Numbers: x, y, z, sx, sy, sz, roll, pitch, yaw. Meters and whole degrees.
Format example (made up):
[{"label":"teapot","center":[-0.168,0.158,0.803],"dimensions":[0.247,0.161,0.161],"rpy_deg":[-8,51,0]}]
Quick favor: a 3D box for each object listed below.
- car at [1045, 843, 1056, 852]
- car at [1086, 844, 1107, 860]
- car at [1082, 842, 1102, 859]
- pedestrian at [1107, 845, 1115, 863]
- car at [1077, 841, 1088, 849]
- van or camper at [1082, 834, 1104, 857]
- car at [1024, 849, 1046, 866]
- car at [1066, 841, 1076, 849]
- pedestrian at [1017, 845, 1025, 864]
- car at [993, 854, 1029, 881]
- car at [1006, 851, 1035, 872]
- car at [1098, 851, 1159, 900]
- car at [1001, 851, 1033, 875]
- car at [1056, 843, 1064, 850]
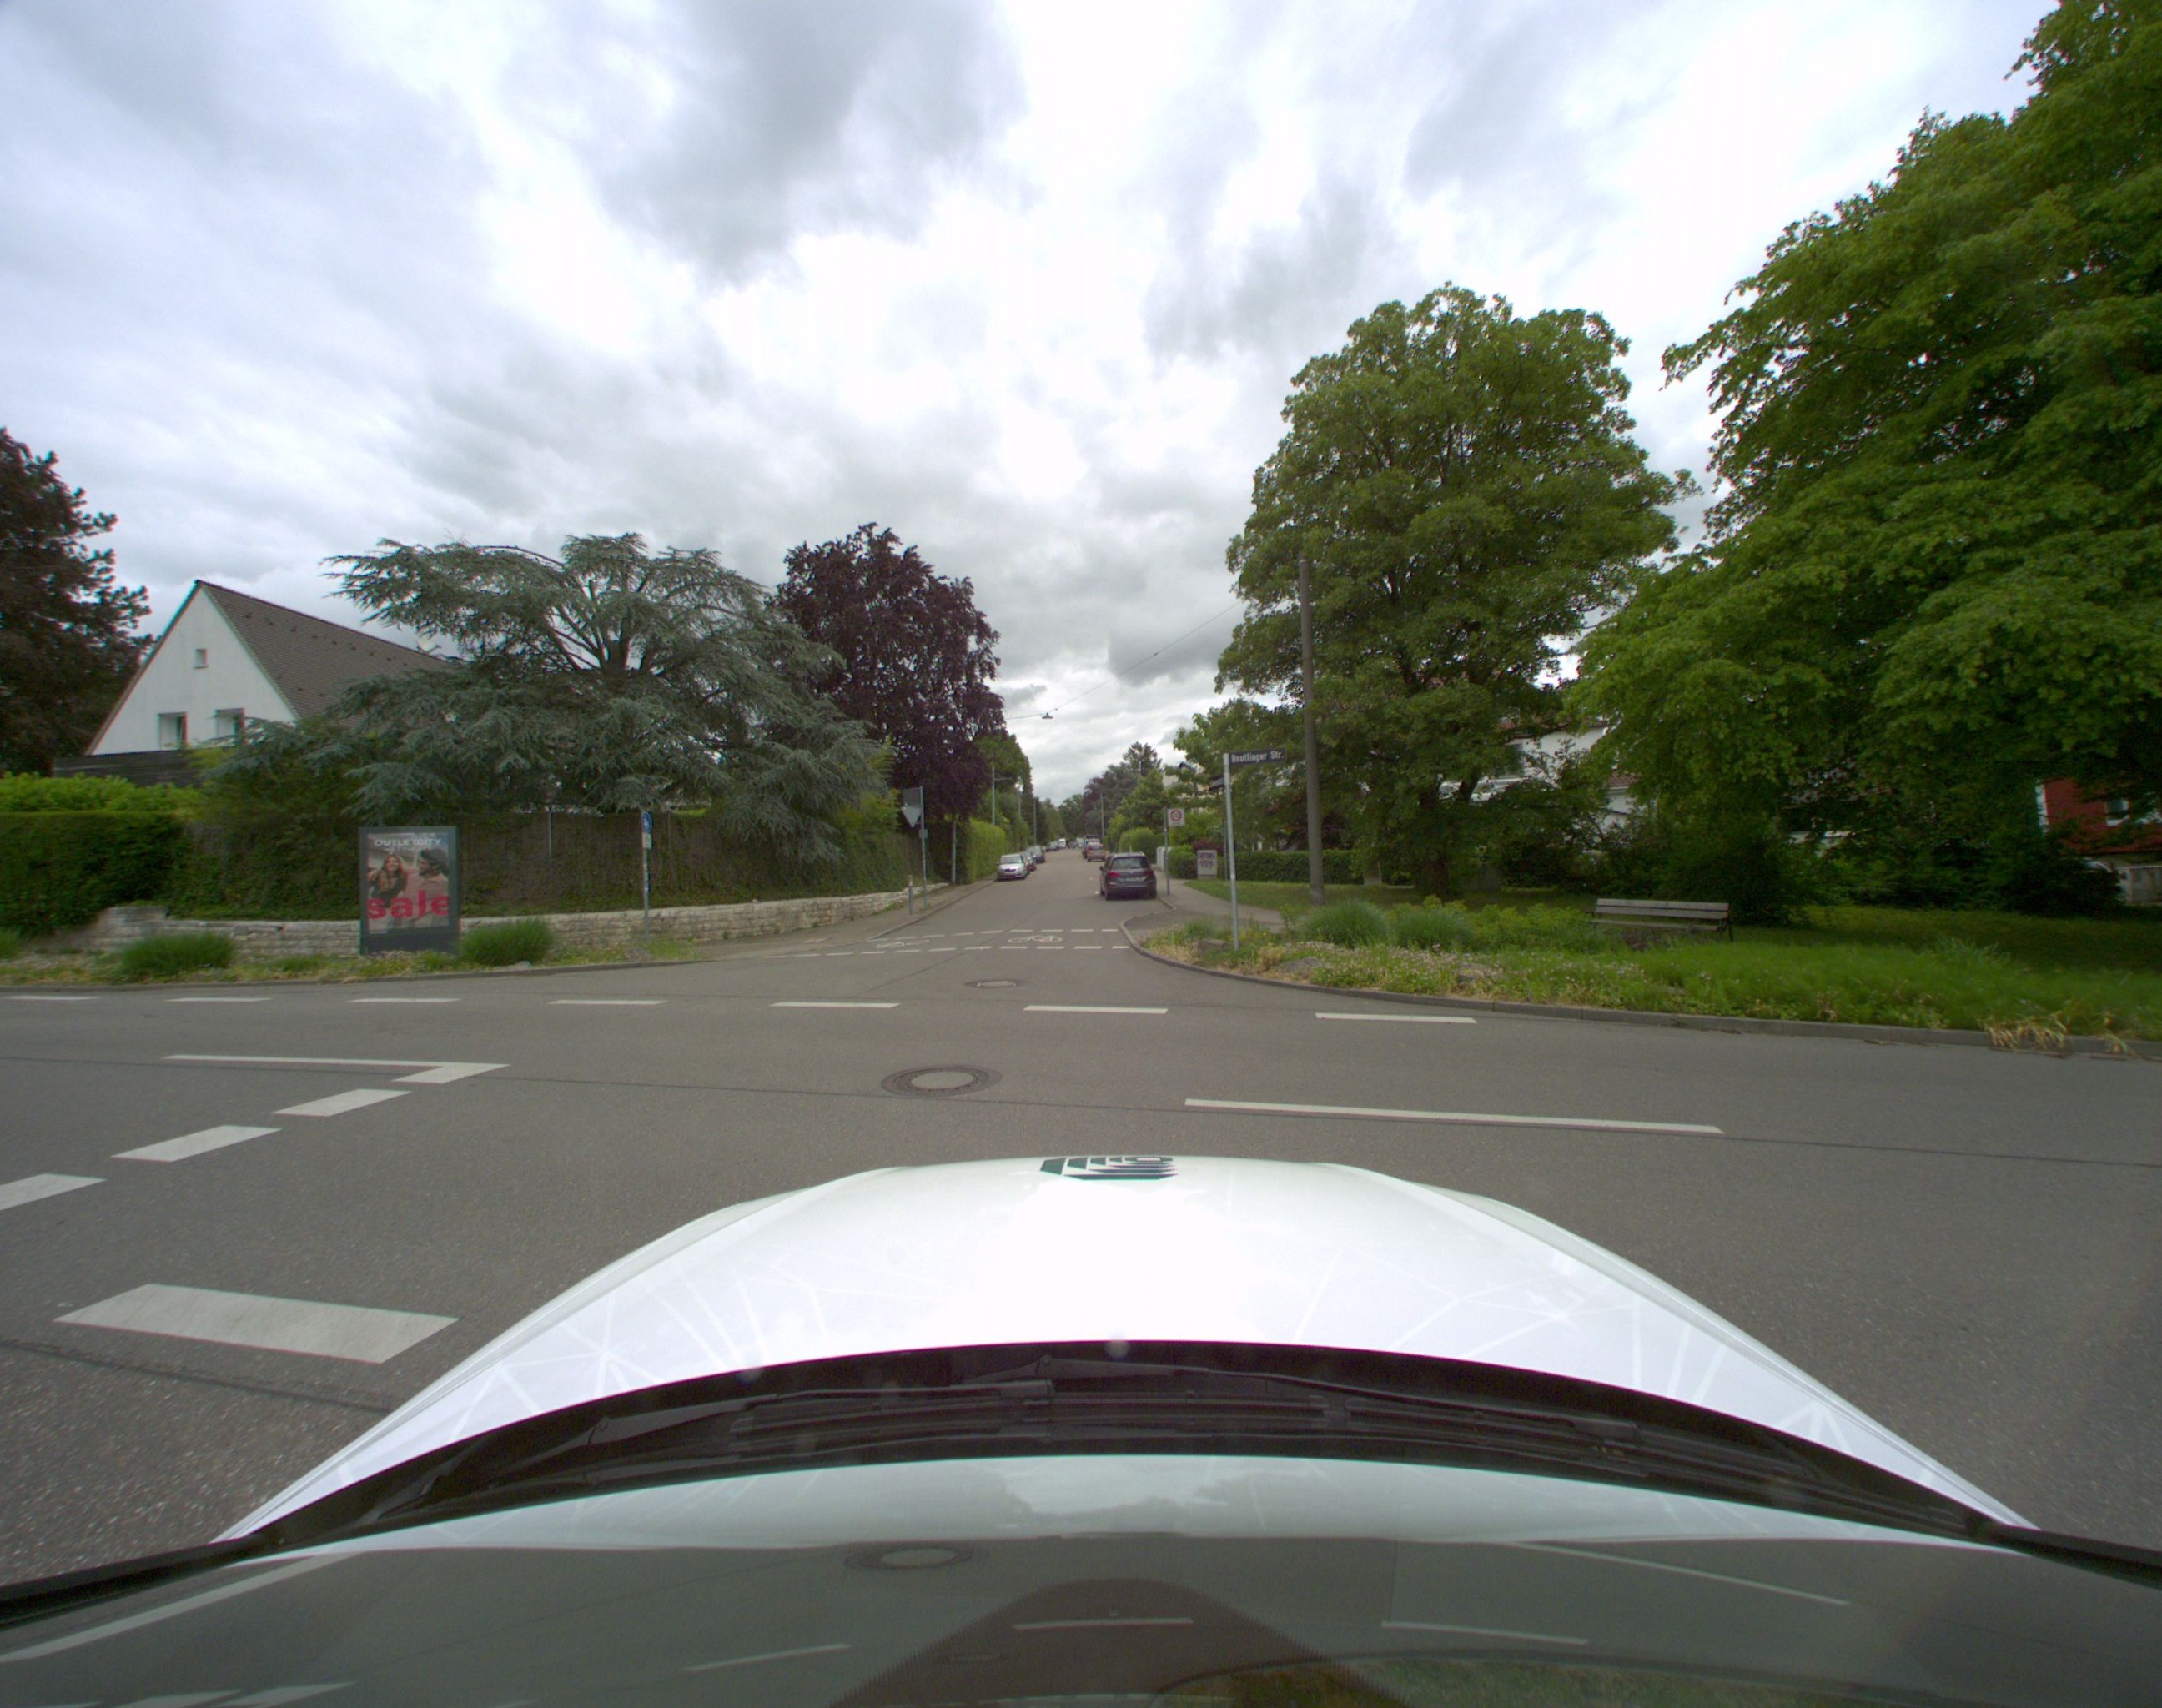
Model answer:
[{"label":"car","center":[-5.124,-1.033,137.184],"dimensions":[1.710,1.463,3.655],"rpy_deg":[0,0,-1]},{"label":"car","center":[1.317,-0.154,72.285],"dimensions":[1.606,1.413,3.469],"rpy_deg":[0,0,-4]},{"label":"car","center":[1.088,-0.356,82.018],"dimensions":[1.743,1.640,3.724],"rpy_deg":[-2,0,-3]},{"label":"pedestrian","center":[3.223,0.018,87.631],"dimensions":[0.755,1.871,0.620],"rpy_deg":[0,0,-1]},{"label":"car","center":[0.352,-2.026,180.423],"dimensions":[1.937,1.796,4.188],"rpy_deg":[0,0,-5]},{"label":"van or camper","center":[1.341,-0.958,94.024],"dimensions":[2.108,2.405,5.240],"rpy_deg":[-2,0,-3]},{"label":"car","center":[-4.282,0.342,76.809],"dimensions":[1.942,1.442,3.996],"rpy_deg":[-2,0,-3]},{"label":"car","center":[-2.256,-1.936,181.232],"dimensions":[1.812,1.574,3.994],"rpy_deg":[-2,0,-4]},{"label":"pedestrian","center":[-6.420,0.059,86.835],"dimensions":[0.852,2.013,0.871],"rpy_deg":[0,0,-7]},{"label":"car","center":[-4.133,0.764,48.598],"dimensions":[1.942,1.442,3.996],"rpy_deg":[-2,0,-3]},{"label":"car","center":[-4.369,0.517,59.252],"dimensions":[1.942,1.442,3.996],"rpy_deg":[-2,0,-3]},{"label":"car","center":[1.613,0.710,28.950],"dimensions":[1.812,1.536,3.998],"rpy_deg":[-3,0,-1]},{"label":"car","center":[-4.190,0.562,53.747],"dimensions":[1.942,1.442,3.996],"rpy_deg":[-2,0,-3]},{"label":"car","center":[-4.186,-1.534,164.351],"dimensions":[1.651,1.335,3.779],"rpy_deg":[0,0,-1]}]
